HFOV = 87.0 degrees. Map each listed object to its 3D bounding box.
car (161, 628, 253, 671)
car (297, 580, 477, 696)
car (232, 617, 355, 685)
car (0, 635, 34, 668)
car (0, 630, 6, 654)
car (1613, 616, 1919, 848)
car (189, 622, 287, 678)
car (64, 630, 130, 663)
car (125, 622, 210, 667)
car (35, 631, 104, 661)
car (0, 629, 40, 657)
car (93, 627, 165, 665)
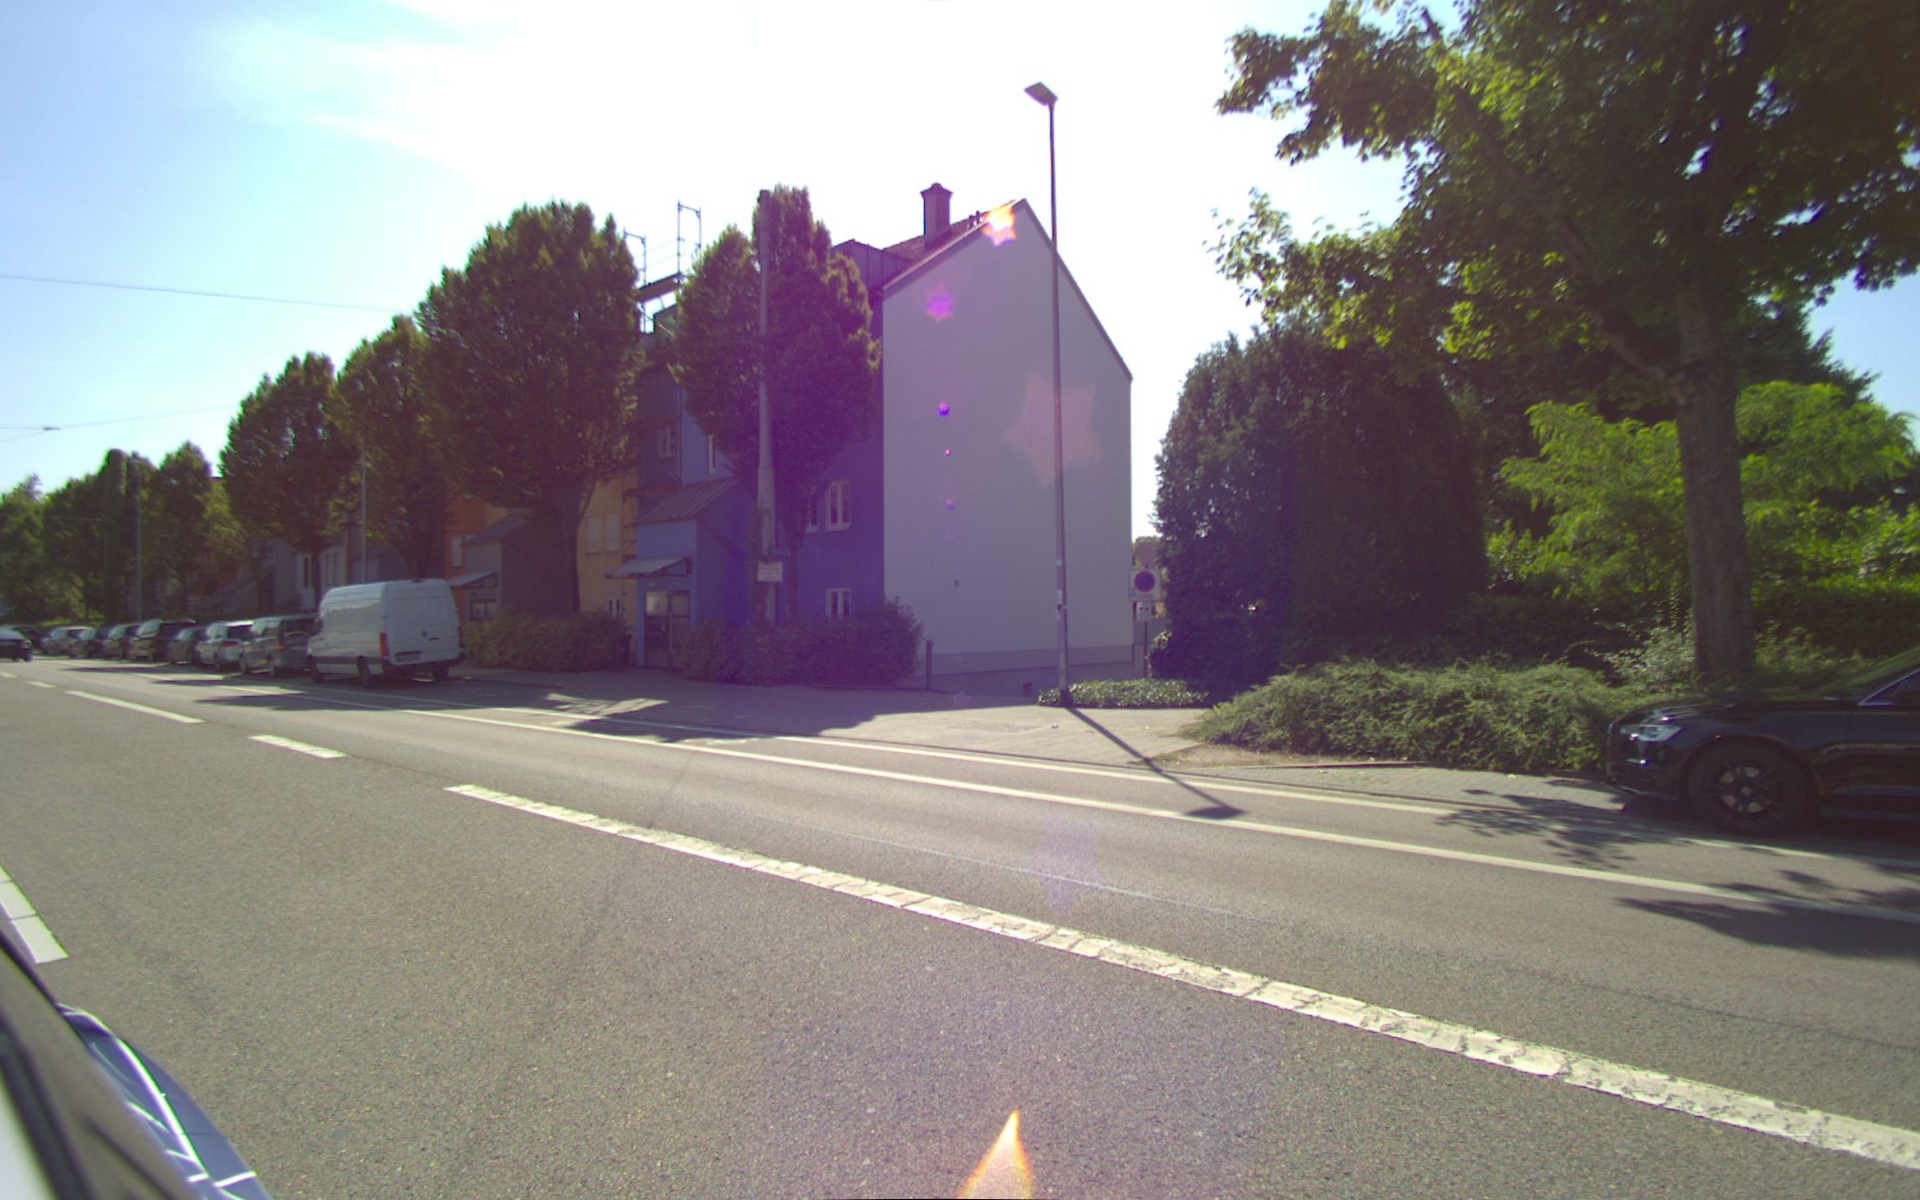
[{"bbox_3d":[-29.599,1.892,39.742,4.070,1.466,1.849,-1,2,38],"label":"car"},{"bbox_3d":[-15.453,0.958,27.048,7.085,2.697,1.972,-2,2,42],"label":"car"},{"bbox_3d":[-21.453,1.572,32.498,4.965,1.879,1.973,-2,3,42],"label":"car"},{"bbox_3d":[-37.654,1.984,39.563,4.062,1.254,1.669,-2,-4,41],"label":"car"},{"bbox_3d":[-63.500,2.721,65.296,4.123,1.510,2.016,-1,0,35],"label":"car"},{"bbox_3d":[7.334,0.839,6.686,4.905,1.477,1.822,-2,-2,39],"label":"car"},{"bbox_3d":[-25.776,1.719,36.073,4.539,1.715,1.829,-1,2,42],"label":"car"},{"bbox_3d":[-42.565,2.281,49.890,4.208,1.481,1.661,-1,0,38],"label":"car"},{"bbox_3d":[-33.601,1.837,42.869,4.344,1.741,1.812,-1,1,38],"label":"car"},{"bbox_3d":[-47.710,2.441,54.184,4.827,1.457,1.662,-1,0,35],"label":"car"},{"bbox_3d":[-57.413,2.572,60.980,4.920,1.588,1.889,-1,0,35],"label":"car"},{"bbox_3d":[-38.086,2.074,46.353,4.160,1.619,1.661,-1,0,38],"label":"car"}]
